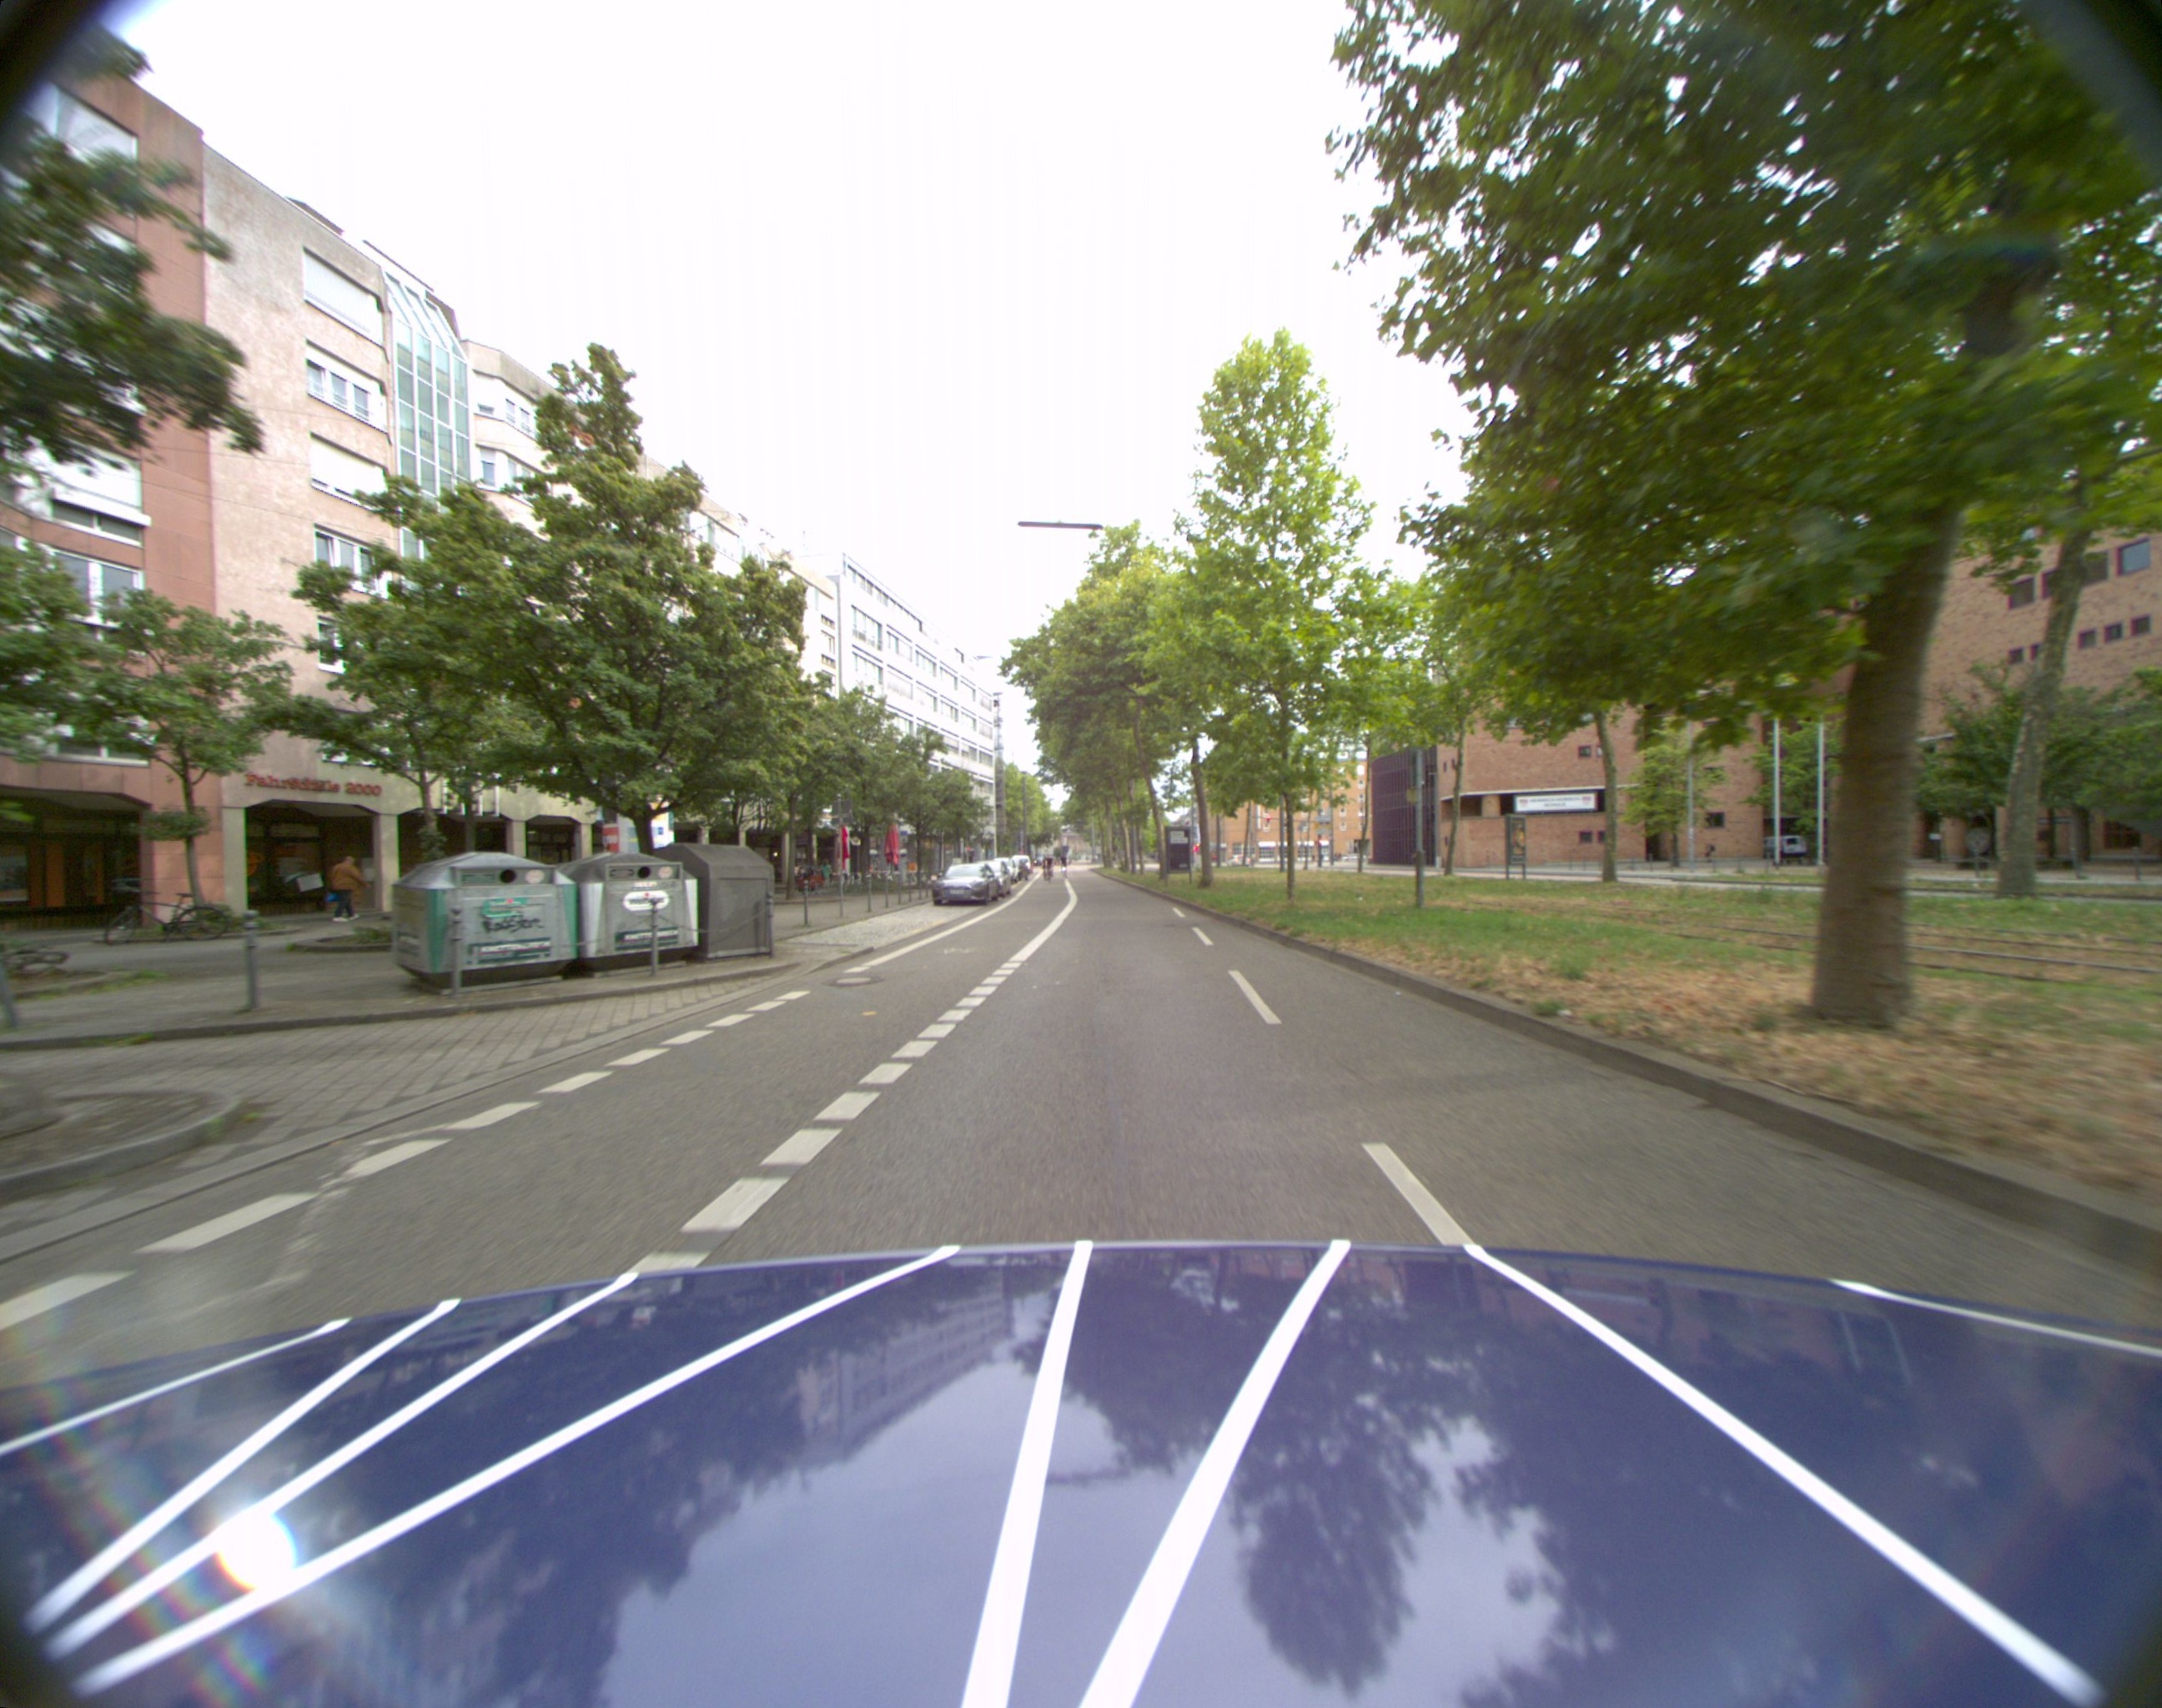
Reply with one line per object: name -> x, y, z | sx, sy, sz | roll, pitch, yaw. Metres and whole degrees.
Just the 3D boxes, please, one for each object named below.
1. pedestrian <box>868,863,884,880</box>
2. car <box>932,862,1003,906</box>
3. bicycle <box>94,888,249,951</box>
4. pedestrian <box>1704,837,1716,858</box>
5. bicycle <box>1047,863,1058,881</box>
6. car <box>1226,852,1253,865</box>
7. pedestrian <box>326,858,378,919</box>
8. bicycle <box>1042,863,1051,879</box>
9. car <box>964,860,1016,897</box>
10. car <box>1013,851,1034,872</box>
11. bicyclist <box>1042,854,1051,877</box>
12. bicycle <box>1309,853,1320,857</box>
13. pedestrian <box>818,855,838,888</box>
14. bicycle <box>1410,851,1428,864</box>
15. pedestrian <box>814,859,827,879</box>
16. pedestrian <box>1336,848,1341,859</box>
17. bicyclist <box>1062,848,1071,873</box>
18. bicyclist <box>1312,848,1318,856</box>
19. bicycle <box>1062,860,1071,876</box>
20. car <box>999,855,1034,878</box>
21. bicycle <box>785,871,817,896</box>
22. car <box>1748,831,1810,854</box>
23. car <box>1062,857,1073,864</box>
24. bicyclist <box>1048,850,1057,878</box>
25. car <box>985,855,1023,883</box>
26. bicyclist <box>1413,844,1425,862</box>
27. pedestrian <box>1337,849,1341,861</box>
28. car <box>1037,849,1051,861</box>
pedestrian -> -14.174, 1.184, 52.442 | 0.822, 1.150, 0.699 | -1, 0, 10
car -> -4.045, 1.036, 27.788 | 1.821, 1.434, 4.666 | 0, 0, 1
bicycle -> -18.528, 1.295, 15.557 | 0.595, 1.106, 1.968 | -1, 1, 44
pedestrian -> 44.874, -0.469, 54.207 | 0.508, 1.523, 0.521 | -1, 0, 14
bicycle -> -1.823, 1.138, 48.799 | 0.596, 1.132, 2.091 | -1, 0, -1
car -> 17.867, 0.547, 85.775 | 1.788, 1.413, 4.657 | -1, 0, -3
pedestrian -> -20.380, 0.959, 21.263 | 0.534, 1.653, 0.851 | -1, 1, 11
bicycle -> -2.438, 1.190, 54.179 | 0.596, 1.132, 1.734 | -1, 0, -1
car -> -3.938, 1.019, 33.511 | 1.744, 1.510, 4.401 | 0, 0, 0
car -> -5.376, 0.690, 71.434 | 1.832, 1.853, 4.646 | 1, 0, -4
bicyclist -> -2.441, 0.791, 54.106 | 0.591, 1.644, 1.035 | -1, 0, -1
bicycle -> 43.701, 0.178, 142.171 | 1.796, 0.777, 0.640 | -1, 1, -4
pedestrian -> -12.031, 0.822, 36.152 | 0.606, 1.577, 0.682 | -1, 1, 8
bicycle -> 29.902, 0.315, 67.186 | 0.669, 1.078, 2.094 | -1, 0, 2
pedestrian -> -15.095, 0.880, 44.101 | 0.516, 1.170, 0.458 | -1, 1, 27
pedestrian -> 40.373, -0.131, 119.054 | 0.540, 1.721, 0.543 | -1, 1, -3
bicyclist -> -1.016, 0.469, 53.630 | 0.591, 1.760, 1.035 | -1, 0, -1
bicyclist -> 43.682, -0.367, 142.080 | 0.865, 1.492, 0.636 | -1, 1, -4
bicycle -> -1.013, 0.979, 53.620 | 0.596, 1.132, 1.858 | -1, 0, -1
car -> -4.682, 0.900, 55.455 | 1.778, 1.567, 4.306 | 1, 0, 5
bicycle -> -12.217, 1.259, 33.239 | 0.486, 1.007, 1.863 | -1, 0, 8
car -> 56.808, -0.893, 61.914 | 1.896, 1.797, 4.003 | -1, 0, 10
car -> -2.786, 1.349, 158.644 | 1.845, 1.369, 3.835 | -1, -1, 3
bicyclist -> -1.831, 0.638, 48.878 | 0.591, 1.757, 1.035 | -1, 0, -1
car -> -4.788, 0.898, 47.717 | 1.866, 1.643, 4.164 | 0, 0, 2
bicyclist -> 29.890, -0.067, 67.157 | 0.665, 1.581, 0.984 | -1, 0, 2
pedestrian -> 44.124, 0.127, 129.935 | 0.524, 2.002, 0.447 | -1, 1, 13
car -> -7.397, 0.149, 153.694 | 2.174, 2.441, 6.997 | -1, 0, 2
